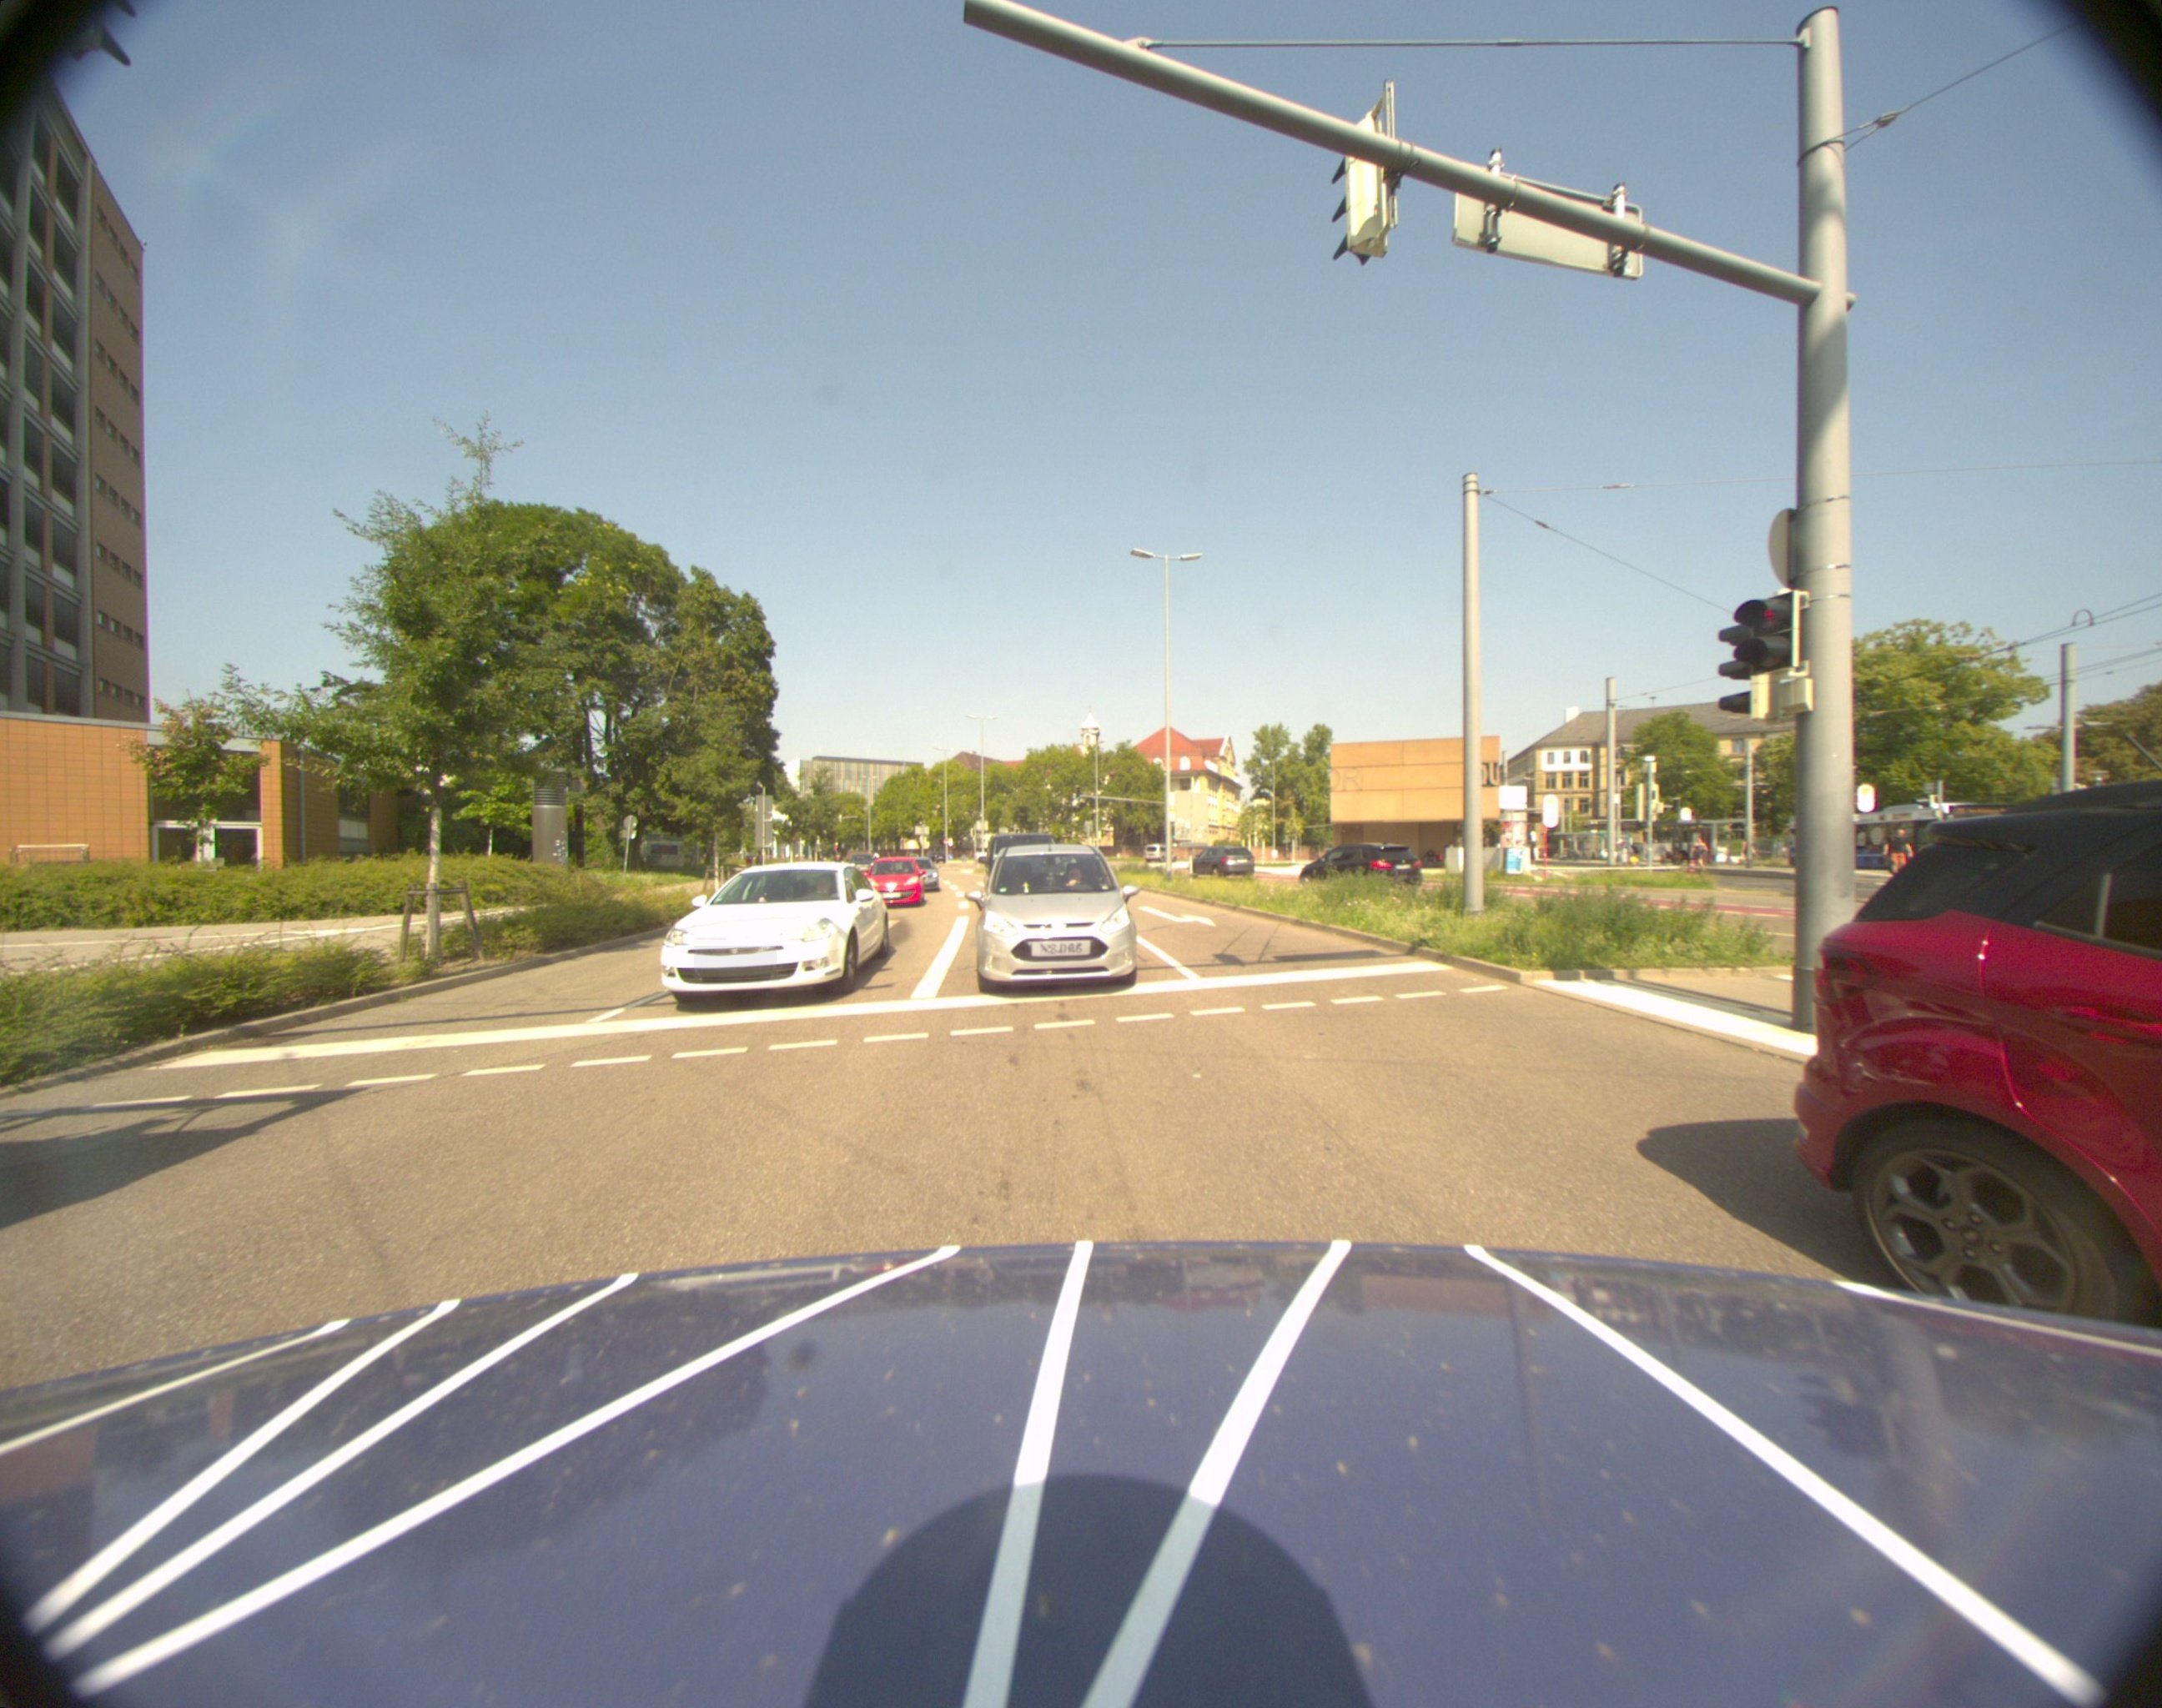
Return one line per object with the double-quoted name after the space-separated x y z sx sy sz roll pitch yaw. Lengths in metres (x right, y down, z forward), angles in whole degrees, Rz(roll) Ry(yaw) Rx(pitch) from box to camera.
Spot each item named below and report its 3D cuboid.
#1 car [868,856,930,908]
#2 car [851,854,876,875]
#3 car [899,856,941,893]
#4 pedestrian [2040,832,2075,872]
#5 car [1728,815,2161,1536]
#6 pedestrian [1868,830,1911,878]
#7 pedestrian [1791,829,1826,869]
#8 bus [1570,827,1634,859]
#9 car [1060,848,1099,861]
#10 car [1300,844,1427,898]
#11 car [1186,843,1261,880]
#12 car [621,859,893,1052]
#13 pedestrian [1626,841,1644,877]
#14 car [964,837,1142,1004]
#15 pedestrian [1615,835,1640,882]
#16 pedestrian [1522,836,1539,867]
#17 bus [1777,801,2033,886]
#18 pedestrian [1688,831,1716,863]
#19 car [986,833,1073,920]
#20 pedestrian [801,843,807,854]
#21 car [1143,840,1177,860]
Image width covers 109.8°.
-5.385 0.780 22.769 1.517 1.400 3.356 -1 0 -9 "car"
-15.525 0.722 54.378 1.618 1.415 3.602 -1 0 -14 "car"
-6.598 0.798 31.065 1.518 1.331 3.504 -2 1 -12 "car"
37.398 -0.090 29.118 0.576 1.520 0.601 1 1 22 "pedestrian"
3.353 0.721 0.763 1.767 1.608 4.080 0 0 -4 "car"
30.585 0.002 28.755 0.960 1.769 0.784 0 1 -21 "pedestrian"
32.645 -0.218 34.097 0.960 1.769 0.784 0 1 -21 "pedestrian"
53.602 -1.232 78.607 2.536 3.014 12.451 -2 1 21 "bus"
-0.184 0.029 60.295 1.851 1.020 4.325 -1 0 -18 "car"
8.546 0.464 23.303 1.681 1.511 3.699 -1 0 -19 "car"
6.886 0.336 37.269 1.904 1.643 4.651 -1 0 -13 "car"
-3.539 0.939 9.310 1.771 1.609 4.599 -2 1 -7 "car"
20.964 0.180 28.753 0.461 1.367 0.349 -1 1 -4 "pedestrian"
-0.331 0.630 9.551 1.692 1.585 4.360 -1 0 -2 "car"
21.055 0.166 29.280 0.560 1.805 0.560 -1 1 -4 "pedestrian"
24.049 -0.146 40.618 0.572 1.636 0.511 -3 2 -21 "pedestrian"
37.920 -0.498 35.960 2.671 3.312 12.775 0 1 20 "bus"
35.594 -0.390 43.535 0.786 1.769 0.957 0 1 -17 "pedestrian"
-1.407 0.486 19.288 1.900 1.919 4.882 -1 0 -7 "car"
-44.903 -0.872 123.144 0.969 1.775 1.115 -1 1 -22 "pedestrian"
8.157 -0.442 78.280 1.994 1.958 4.008 0 1 31 "car"
